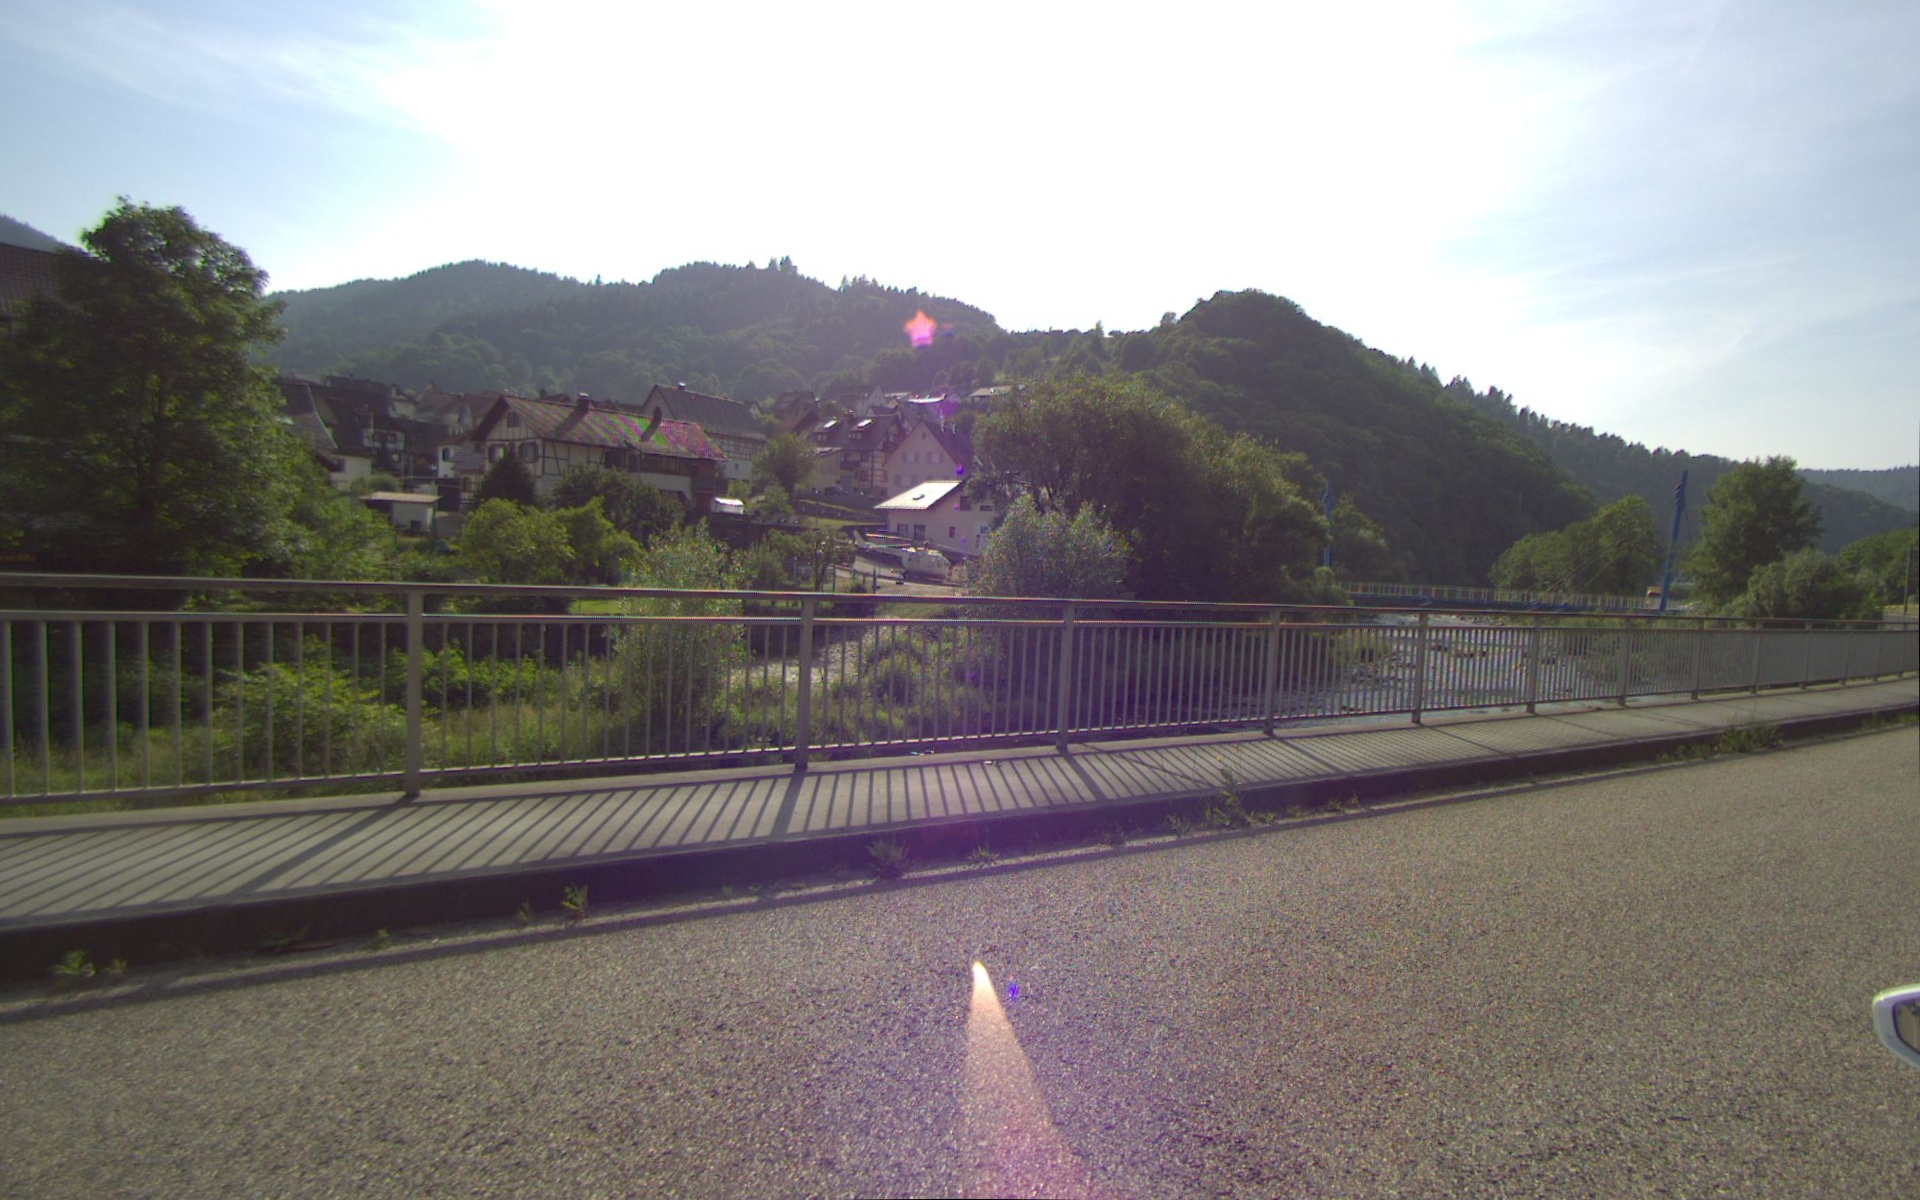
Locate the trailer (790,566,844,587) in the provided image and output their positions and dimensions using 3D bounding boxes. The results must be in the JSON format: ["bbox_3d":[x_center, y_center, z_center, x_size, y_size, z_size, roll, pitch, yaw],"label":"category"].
[{"bbox_3d":[-9.979,-1.643,70.496,1.864,1.327,3.692,1,0,30],"label":"trailer"}]

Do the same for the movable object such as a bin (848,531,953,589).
[{"bbox_3d":[-4.763,-3.263,82.044,8.010,3.256,3.550,10,2,-1],"label":"movable object such as a bin"}]
